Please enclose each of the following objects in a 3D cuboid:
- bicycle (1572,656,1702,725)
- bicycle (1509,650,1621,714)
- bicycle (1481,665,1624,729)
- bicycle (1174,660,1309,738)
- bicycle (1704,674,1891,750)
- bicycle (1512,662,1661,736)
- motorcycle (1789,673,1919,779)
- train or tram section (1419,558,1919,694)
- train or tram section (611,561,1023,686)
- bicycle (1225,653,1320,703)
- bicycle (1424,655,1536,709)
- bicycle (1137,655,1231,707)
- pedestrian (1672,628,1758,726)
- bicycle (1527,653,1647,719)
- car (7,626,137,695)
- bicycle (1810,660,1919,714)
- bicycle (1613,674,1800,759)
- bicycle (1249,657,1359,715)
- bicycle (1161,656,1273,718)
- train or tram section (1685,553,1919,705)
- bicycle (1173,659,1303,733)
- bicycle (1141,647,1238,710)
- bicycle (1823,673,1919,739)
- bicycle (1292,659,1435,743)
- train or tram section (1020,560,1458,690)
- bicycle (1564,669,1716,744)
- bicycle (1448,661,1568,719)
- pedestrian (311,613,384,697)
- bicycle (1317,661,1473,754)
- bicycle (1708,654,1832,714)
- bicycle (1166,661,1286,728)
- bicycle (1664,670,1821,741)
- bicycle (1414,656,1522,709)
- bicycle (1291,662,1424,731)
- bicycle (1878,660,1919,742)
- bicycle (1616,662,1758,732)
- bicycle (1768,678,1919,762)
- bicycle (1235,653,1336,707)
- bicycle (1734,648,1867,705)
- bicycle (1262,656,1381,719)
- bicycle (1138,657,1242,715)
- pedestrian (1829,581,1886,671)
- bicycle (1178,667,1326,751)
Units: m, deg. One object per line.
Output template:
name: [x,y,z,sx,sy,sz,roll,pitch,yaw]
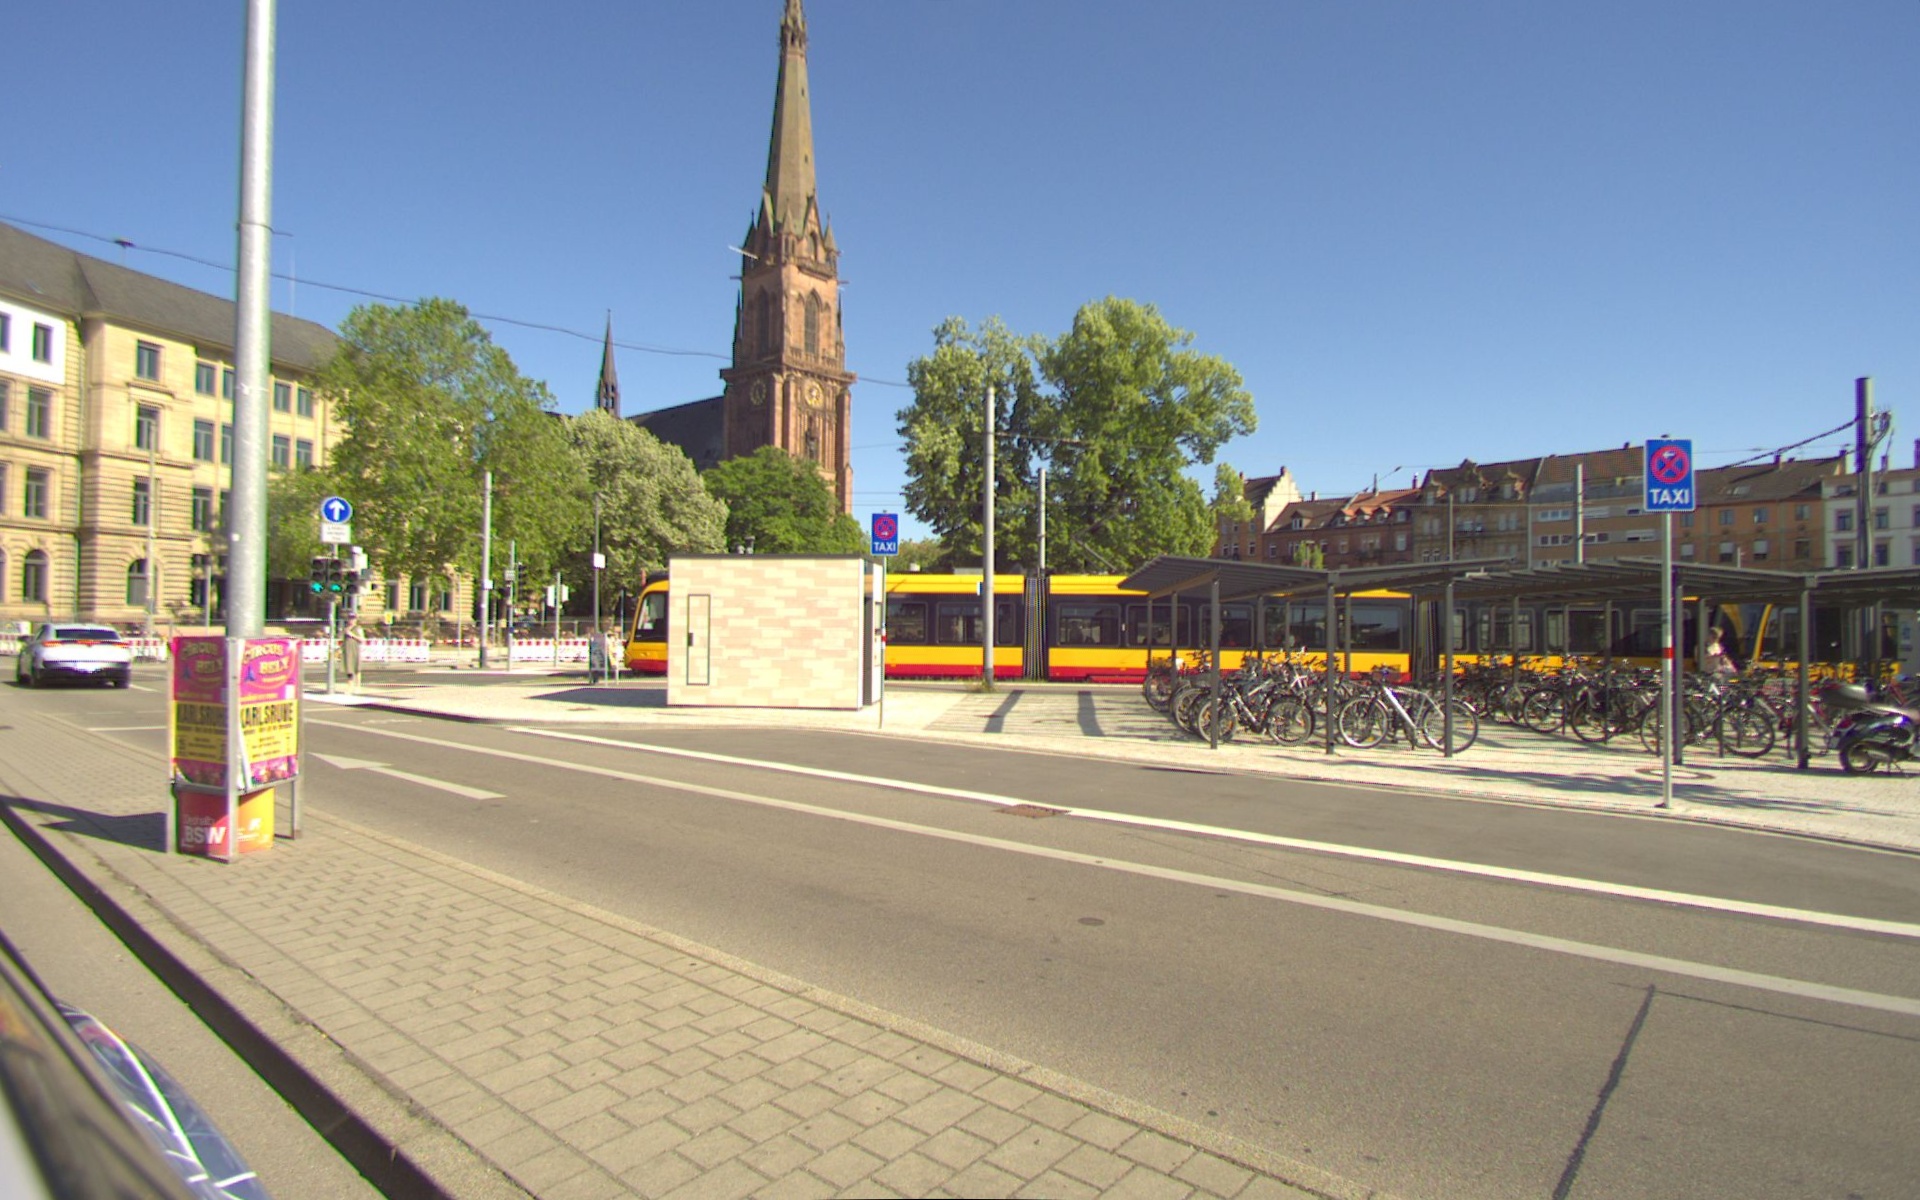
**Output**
bicycle: [12.046,1.593,18.044,1.808,1.170,0.627,0,-2,6]
bicycle: [12.162,1.633,20.392,1.808,1.242,0.627,0,-2,6]
bicycle: [9.889,1.619,16.938,1.978,1.015,0.628,0,-2,3]
bicycle: [4.064,1.425,14.719,1.809,1.074,0.627,0,-2,9]
bicycle: [11.869,1.576,14.391,2.003,1.015,0.627,0,-2,6]
bicycle: [9.820,1.540,15.916,1.859,1.101,0.626,0,-2,8]
motorcycle: [11.128,1.452,11.745,2.333,1.167,0.610,0,-2,6]
train or tram section: [20.044,0.722,29.003,12.173,3.629,2.828,0,-2,6]
train or tram section: [-4.276,0.716,31.476,12.381,3.629,2.797,0,-2,6]
bicycle: [6.555,1.637,21.302,1.808,1.015,0.627,0,-2,6]
bicycle: [10.051,1.580,19.618,1.807,1.015,0.628,0,-2,4]
bicycle: [4.546,1.639,20.599,1.809,1.015,0.627,0,-2,9]
pedestrian: [13.764,1.377,18.484,0.829,1.718,1.022,0,-2,7]
bicycle: [11.860,1.616,19.193,1.808,1.198,0.647,0,-2,6]
car: [-22.147,1.463,25.186,4.334,1.564,1.822,-1,-4,41]
bicycle: [17.981,1.699,19.946,1.808,1.015,0.627,0,-2,6]
bicycle: [9.901,1.532,13.490,1.871,1.050,0.688,0,-2,9]
bicycle: [6.311,1.565,18.615,1.808,1.015,0.627,0,-2,6]
bicycle: [4.450,1.502,17.624,1.809,1.015,0.627,0,-2,9]
train or tram section: [25.535,0.738,25.248,12.178,3.629,2.748,0,-2,7]
bicycle: [4.159,1.430,15.248,1.809,1.059,0.571,0,-2,9]
bicycle: [4.490,1.535,19.899,1.809,1.188,0.627,0,-2,9]
bicycle: [15.204,1.703,16.369,1.809,1.015,0.627,0,-2,9]
bicycle: [5.858,1.455,14.766,1.808,1.157,0.627,0,-2,6]
train or tram section: [7.930,0.734,30.230,12.173,3.629,2.797,0,-2,6]
bicycle: [9.802,1.529,14.639,1.731,1.015,0.547,0,-2,10]
bicycle: [9.904,1.616,18.313,1.805,1.015,0.629,0,-2,0]
pedestrian: [-14.219,1.257,23.512,0.826,1.869,1.215,-1,-2,35]
bicycle: [5.818,1.433,13.623,1.808,1.167,0.627,0,-2,6]
bicycle: [15.929,1.643,19.935,1.809,1.140,0.627,0,-2,9]
bicycle: [4.303,1.522,16.468,1.809,1.015,0.627,0,-2,9]
bicycle: [11.946,1.595,15.486,1.808,1.015,0.627,0,-2,6]
bicycle: [10.178,1.644,20.307,1.808,1.015,0.627,0,-2,6]
bicycle: [6.264,1.511,16.033,1.808,1.015,0.745,0,-2,6]
bicycle: [15.243,1.532,15.330,2.029,1.218,0.505,0,-2,8]
bicycle: [12.015,1.594,16.778,1.808,1.088,0.627,0,-2,6]
bicycle: [11.723,1.550,13.165,1.808,1.015,0.627,0,-2,6]
bicycle: [6.438,1.581,20.102,1.808,1.015,0.627,0,-2,6]
bicycle: [15.618,1.406,18.838,1.809,1.015,0.627,0,-2,9]
bicycle: [6.167,1.487,17.340,1.808,1.015,0.627,0,-2,6]
bicycle: [4.223,1.579,18.654,1.809,1.015,0.627,0,-2,9]
pedestrian: [19.124,0.558,21.566,0.700,1.869,0.751,2,-2,-38]
bicycle: [3.957,1.469,13.842,1.847,1.015,0.699,1,-2,9]
